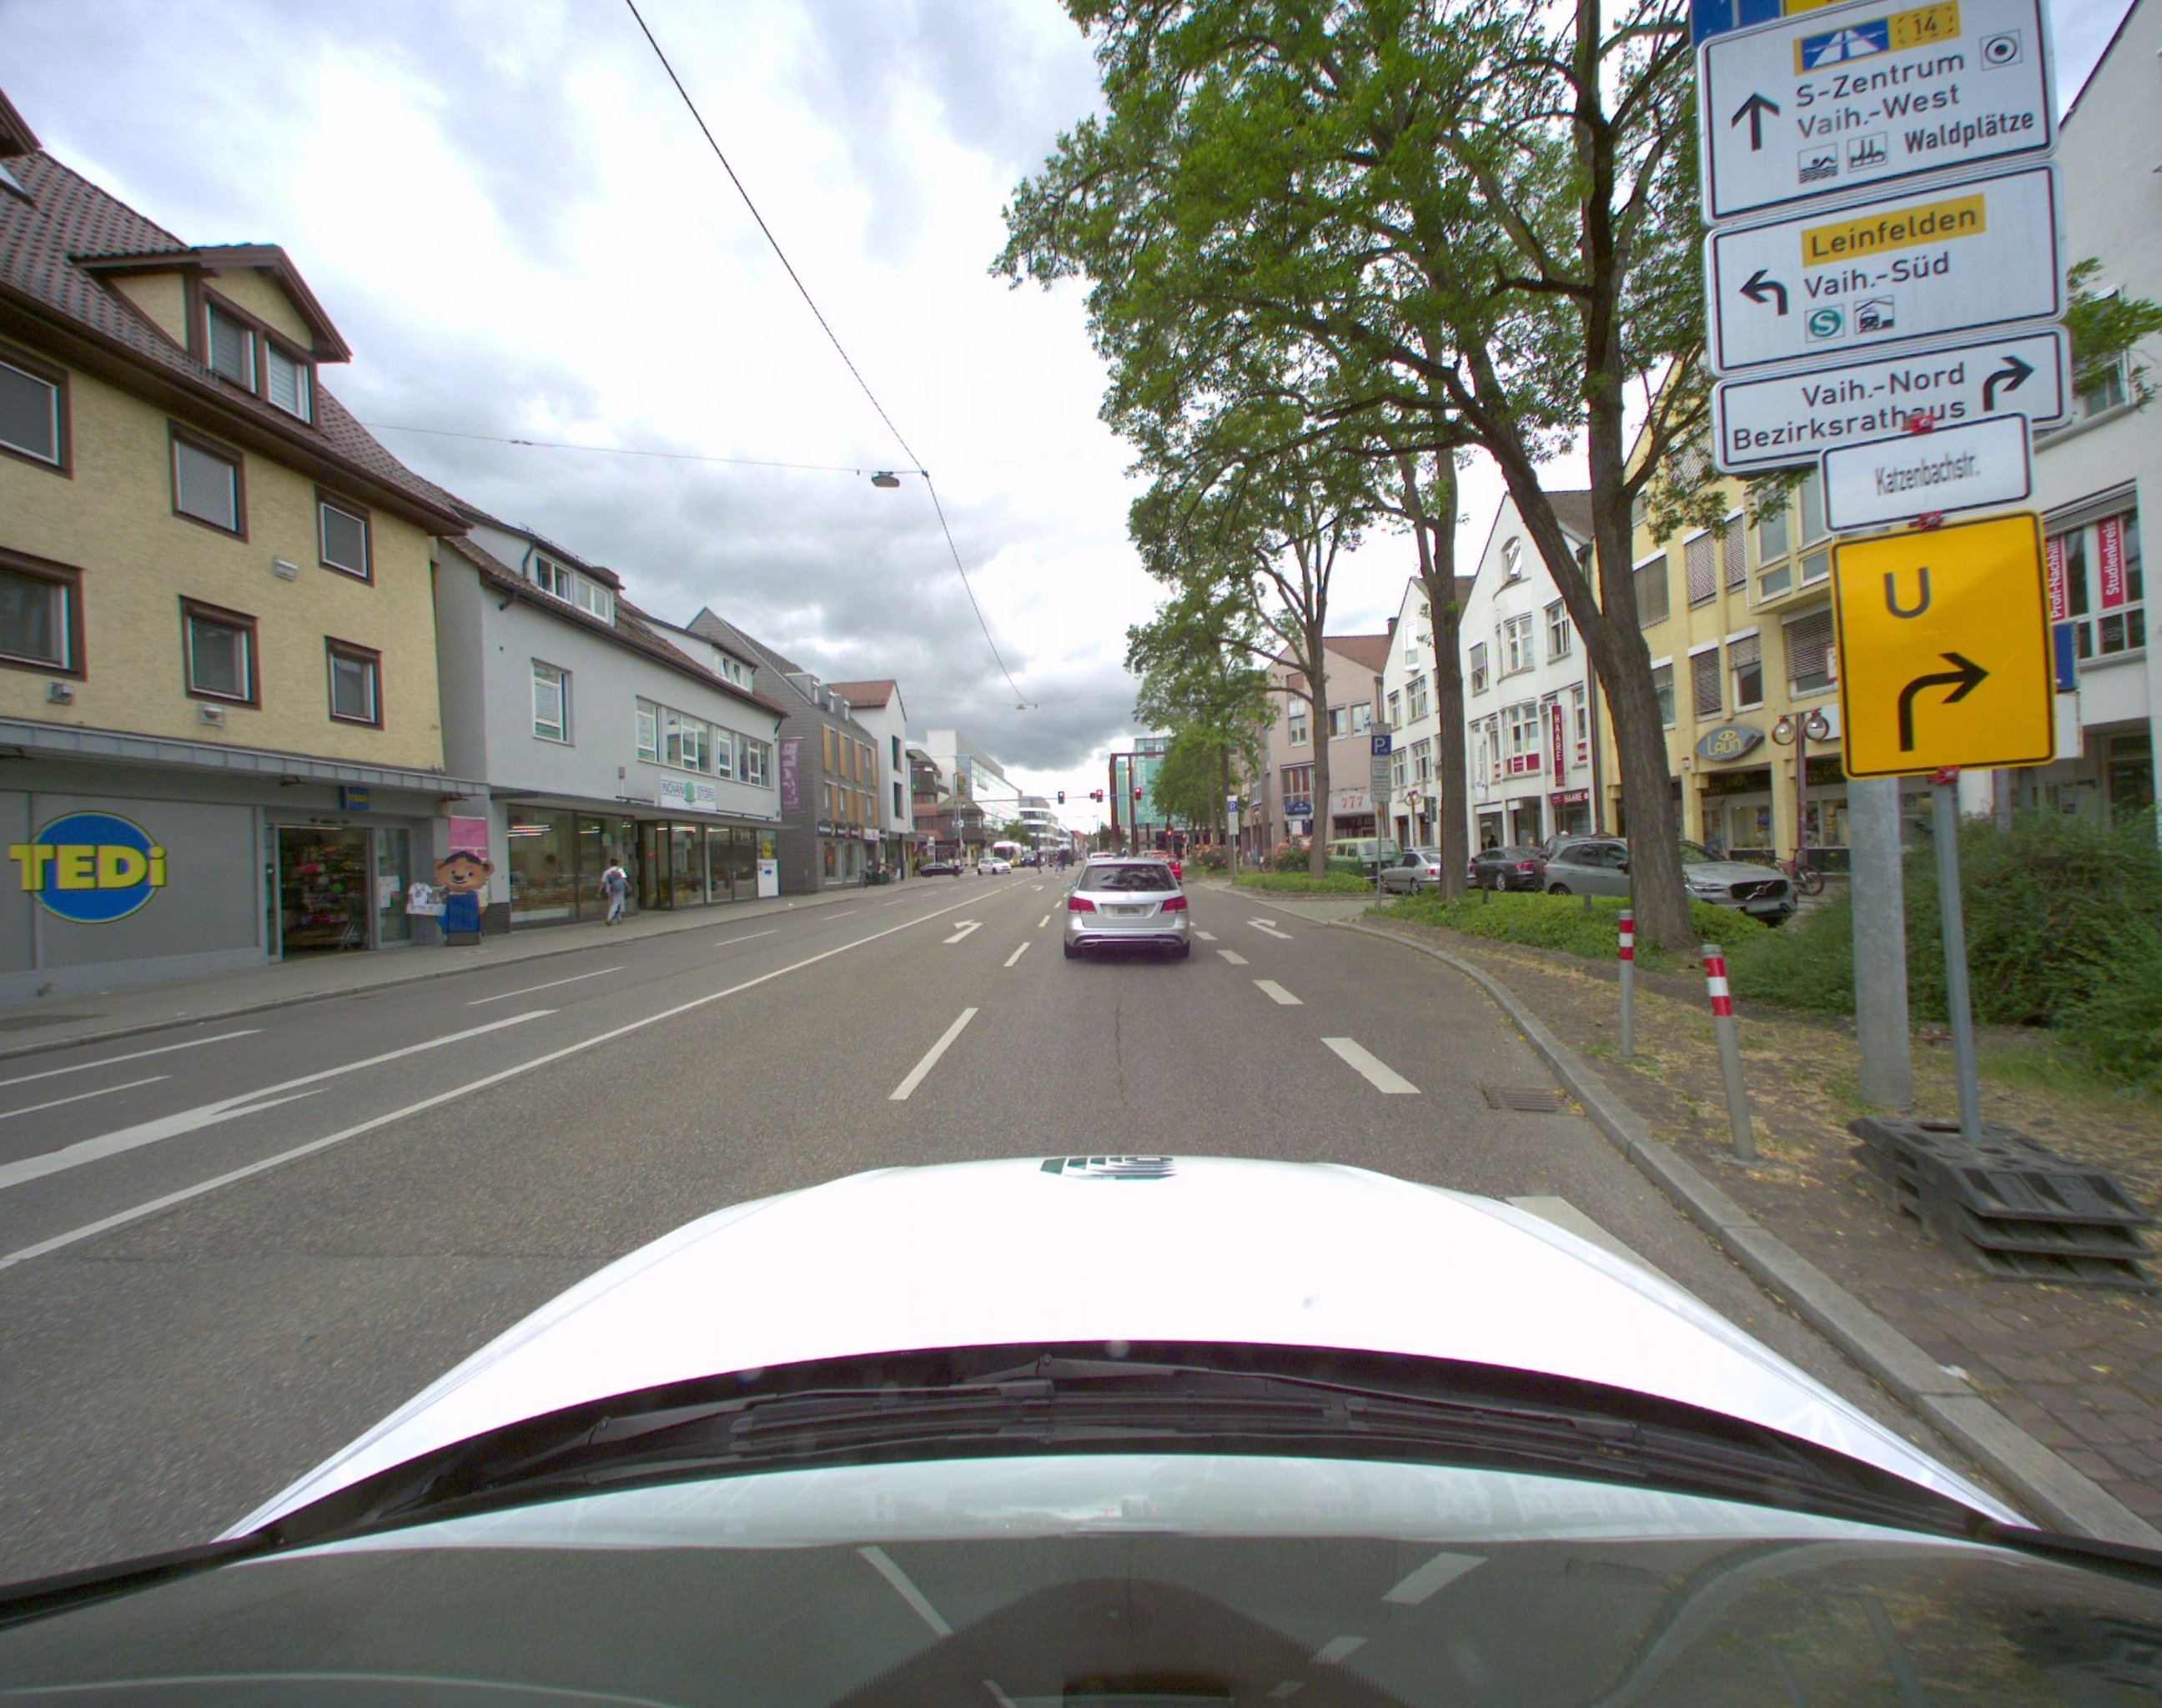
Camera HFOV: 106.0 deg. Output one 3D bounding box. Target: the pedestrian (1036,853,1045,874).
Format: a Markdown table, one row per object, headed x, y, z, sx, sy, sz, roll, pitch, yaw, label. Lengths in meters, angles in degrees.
| x | y | z | sx | sy | sz | roll | pitch | yaw | label |
| --- | --- | --- | --- | --- | --- | --- | --- | --- | --- |
| -3.166 | 0.734 | 63.956 | 0.557 | 1.650 | 0.652 | -2 | 0 | -8 | pedestrian |

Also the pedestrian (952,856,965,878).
| x | y | z | sx | sy | sz | roll | pitch | yaw | label |
| --- | --- | --- | --- | --- | --- | --- | --- | --- | --- |
| -9.129 | 0.939 | 60.742 | 0.725 | 1.610 | 0.753 | -2 | 0 | 1 | pedestrian |

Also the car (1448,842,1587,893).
| x | y | z | sx | sy | sz | roll | pitch | yaw | label |
| --- | --- | --- | --- | --- | --- | --- | --- | --- | --- |
| 13.766 | 0.384 | 26.035 | 1.991 | 1.376 | 4.418 | -3 | 0 | 0 | car |

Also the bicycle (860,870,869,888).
| x | y | z | sx | sy | sz | roll | pitch | yaw | label |
| --- | --- | --- | --- | --- | --- | --- | --- | --- | --- |
| -11.906 | 1.366 | 44.829 | 0.326 | 0.954 | 1.478 | -2 | 0 | -9 | bicycle |

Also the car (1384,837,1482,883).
| x | y | z | sx | sy | sz | roll | pitch | yaw | label |
| --- | --- | --- | --- | --- | --- | --- | --- | --- | --- |
| 13.530 | 0.221 | 31.595 | 1.790 | 1.542 | 4.393 | -3 | 0 | 0 | car |

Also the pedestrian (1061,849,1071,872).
| x | y | z | sx | sy | sz | roll | pitch | yaw | label |
| --- | --- | --- | --- | --- | --- | --- | --- | --- | --- |
| -1.192 | 0.538 | 63.641 | 0.644 | 1.775 | 0.569 | -2 | 0 | -7 | pedestrian |

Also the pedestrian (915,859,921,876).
| x | y | z | sx | sy | sz | roll | pitch | yaw | label |
| --- | --- | --- | --- | --- | --- | --- | --- | --- | --- |
| -14.249 | 1.190 | 71.187 | 0.448 | 1.428 | 0.441 | -2 | 0 | 2 | pedestrian |

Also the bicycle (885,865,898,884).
| x | y | z | sx | sy | sz | roll | pitch | yaw | label |
| --- | --- | --- | --- | --- | --- | --- | --- | --- | --- |
| -12.053 | 1.293 | 51.793 | 0.385 | 1.186 | 1.825 | -2 | 0 | -1 | bicycle |

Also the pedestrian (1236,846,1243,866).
| x | y | z | sx | sy | sz | roll | pitch | yaw | label |
| --- | --- | --- | --- | --- | --- | --- | --- | --- | --- |
| 14.356 | 0.189 | 73.770 | 0.566 | 1.775 | 0.648 | -2 | 0 | 5 | pedestrian |

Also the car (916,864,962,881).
| x | y | z | sx | sy | sz | roll | pitch | yaw | label |
| --- | --- | --- | --- | --- | --- | --- | --- | --- | --- |
| -14.020 | 1.796 | 80.515 | 4.171 | 1.530 | 1.791 | -2 | 0 | 1 | car |

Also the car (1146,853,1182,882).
| x | y | z | sx | sy | sz | roll | pitch | yaw | label |
| --- | --- | --- | --- | --- | --- | --- | --- | --- | --- |
| 4.176 | 0.655 | 41.437 | 1.581 | 1.443 | 3.349 | 0 | 0 | 2 | car |

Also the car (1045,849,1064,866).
| x | y | z | sx | sy | sz | roll | pitch | yaw | label |
| --- | --- | --- | --- | --- | --- | --- | --- | --- | --- |
| -3.191 | 0.441 | 97.498 | 1.987 | 1.949 | 4.951 | -2 | 0 | 0 | car |

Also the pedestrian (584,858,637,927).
| x | y | z | sx | sy | sz | roll | pitch | yaw | label |
| --- | --- | --- | --- | --- | --- | --- | --- | --- | --- |
| -12.055 | 0.961 | 20.899 | 0.751 | 1.705 | 0.981 | 1 | 0 | 1 | pedestrian |

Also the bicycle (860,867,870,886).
| x | y | z | sx | sy | sz | roll | pitch | yaw | label |
| --- | --- | --- | --- | --- | --- | --- | --- | --- | --- |
| -12.992 | 1.343 | 49.080 | 0.386 | 1.127 | 1.286 | -2 | 0 | -8 | bicycle |

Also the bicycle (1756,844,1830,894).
| x | y | z | sx | sy | sz | roll | pitch | yaw | label |
| --- | --- | --- | --- | --- | --- | --- | --- | --- | --- |
| 15.682 | 0.327 | 17.974 | 0.390 | 1.044 | 1.379 | -3 | 0 | 1 | bicycle |

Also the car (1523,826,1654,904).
| x | y | z | sx | sy | sz | roll | pitch | yaw | label |
| --- | --- | --- | --- | --- | --- | --- | --- | --- | --- |
| 12.744 | 0.218 | 20.764 | 1.837 | 1.670 | 4.687 | -3 | 0 | 20 | car |

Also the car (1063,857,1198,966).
| x | y | z | sx | sy | sz | roll | pitch | yaw | label |
| --- | --- | --- | --- | --- | --- | --- | --- | --- | --- |
| 0.673 | 0.772 | 13.089 | 1.809 | 1.448 | 4.369 | 0 | 0 | 0 | car |

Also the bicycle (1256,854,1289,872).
| x | y | z | sx | sy | sz | roll | pitch | yaw | label |
| --- | --- | --- | --- | --- | --- | --- | --- | --- | --- |
| 11.630 | 0.546 | 49.489 | 1.892 | 0.997 | 0.468 | -2 | 0 | 5 | bicycle |

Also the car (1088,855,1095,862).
| x | y | z | sx | sy | sz | roll | pitch | yaw | label |
| --- | --- | --- | --- | --- | --- | --- | --- | --- | --- |
| 2.576 | 1.050 | 197.522 | 1.710 | 1.706 | 4.064 | -2 | 0 | 0 | car |

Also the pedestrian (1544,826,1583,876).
| x | y | z | sx | sy | sz | roll | pitch | yaw | label |
| --- | --- | --- | --- | --- | --- | --- | --- | --- | --- |
| 16.942 | -0.111 | 28.640 | 0.786 | 1.659 | 0.819 | -4 | 0 | 1 | pedestrian |

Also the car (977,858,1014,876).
| x | y | z | sx | sy | sz | roll | pitch | yaw | label |
| --- | --- | --- | --- | --- | --- | --- | --- | --- | --- |
| -7.464 | 1.139 | 70.892 | 1.587 | 1.488 | 3.424 | -3 | 0 | -37 | car |

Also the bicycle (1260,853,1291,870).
| x | y | z | sx | sy | sz | roll | pitch | yaw | label |
| --- | --- | --- | --- | --- | --- | --- | --- | --- | --- |
| 11.938 | 0.460 | 50.011 | 1.760 | 0.997 | 0.447 | -2 | 0 | 5 | bicycle |

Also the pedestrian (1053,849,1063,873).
| x | y | z | sx | sy | sz | roll | pitch | yaw | label |
| --- | --- | --- | --- | --- | --- | --- | --- | --- | --- |
| -1.759 | 0.543 | 63.059 | 0.646 | 1.790 | 0.682 | -2 | 0 | -7 | pedestrian |

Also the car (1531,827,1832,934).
| x | y | z | sx | sy | sz | roll | pitch | yaw | label |
| --- | --- | --- | --- | --- | --- | --- | --- | --- | --- |
| 10.741 | 0.408 | 15.154 | 1.988 | 1.595 | 4.761 | -2 | 0 | -2 | car |

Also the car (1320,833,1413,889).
| x | y | z | sx | sy | sz | roll | pitch | yaw | label |
| --- | --- | --- | --- | --- | --- | --- | --- | --- | --- |
| 10.877 | 0.254 | 31.402 | 1.874 | 1.876 | 4.604 | -3 | 0 | 0 | car |

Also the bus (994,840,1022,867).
| x | y | z | sx | sy | sz | roll | pitch | yaw | label |
| --- | --- | --- | --- | --- | --- | --- | --- | --- | --- |
| -9.353 | -0.037 | 105.313 | 2.678 | 3.261 | 8.653 | -2 | 0 | 0 | bus |

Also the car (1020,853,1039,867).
| x | y | z | sx | sy | sz | roll | pitch | yaw | label |
| --- | --- | --- | --- | --- | --- | --- | --- | --- | --- |
| -6.486 | 0.717 | 102.584 | 1.987 | 1.706 | 4.064 | -2 | 0 | 0 | car |

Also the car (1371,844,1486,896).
| x | y | z | sx | sy | sz | roll | pitch | yaw | label |
| --- | --- | --- | --- | --- | --- | --- | --- | --- | --- |
| 10.991 | 0.480 | 26.129 | 1.757 | 1.450 | 4.418 | -2 | 0 | 0 | car |

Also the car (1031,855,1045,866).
| x | y | z | sx | sy | sz | roll | pitch | yaw | label |
| --- | --- | --- | --- | --- | --- | --- | --- | --- | --- |
| -5.816 | 0.850 | 109.999 | 1.550 | 1.392 | 3.288 | -2 | 0 | 0 | car |

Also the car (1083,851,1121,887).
| x | y | z | sx | sy | sz | roll | pitch | yaw | label |
| --- | --- | --- | --- | --- | --- | --- | --- | --- | --- |
| 0.959 | 0.639 | 37.194 | 1.634 | 1.527 | 3.395 | -1 | 0 | 1 | car |

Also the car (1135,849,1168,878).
| x | y | z | sx | sy | sz | roll | pitch | yaw | label |
| --- | --- | --- | --- | --- | --- | --- | --- | --- | --- |
| 4.100 | 0.552 | 47.800 | 1.581 | 1.634 | 3.916 | 0 | 0 | 0 | car |
